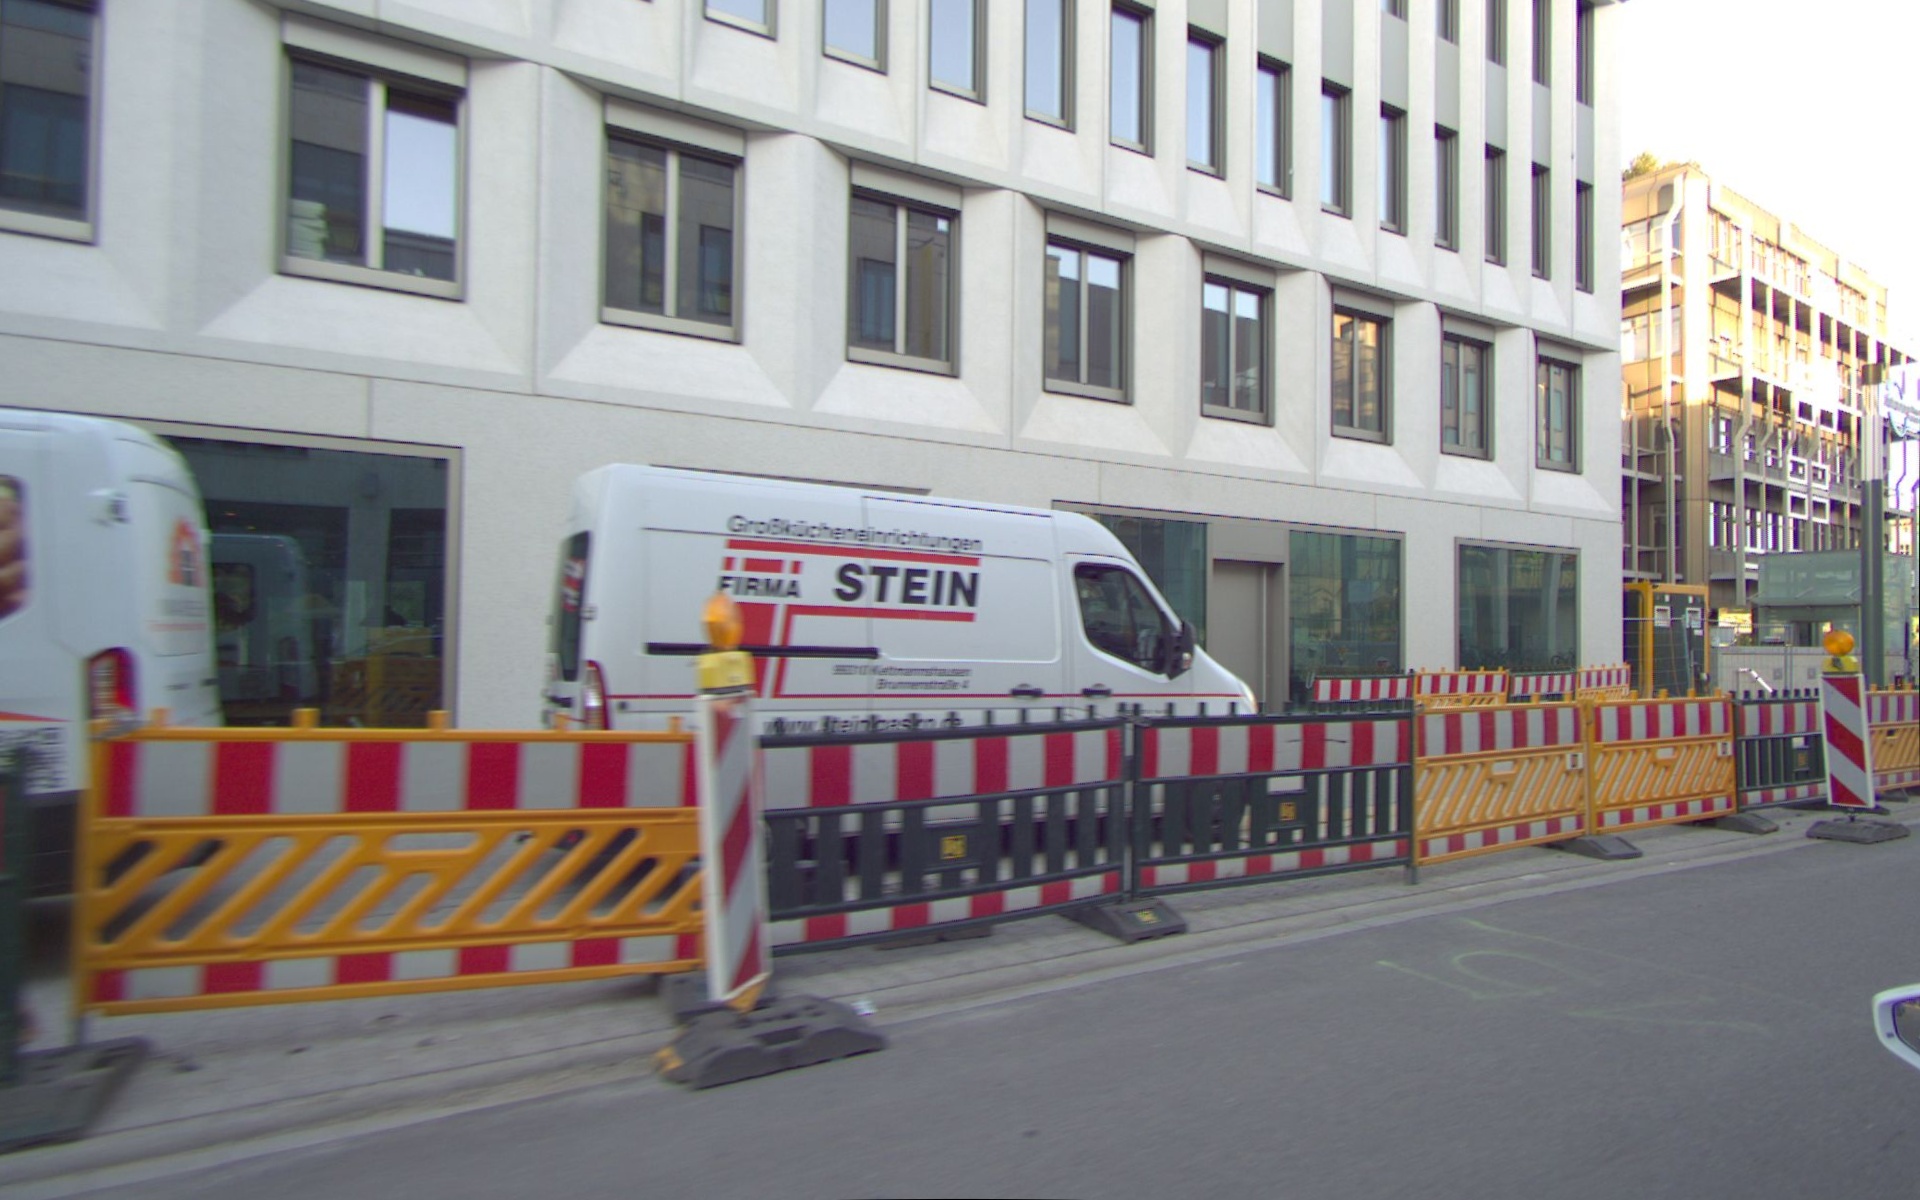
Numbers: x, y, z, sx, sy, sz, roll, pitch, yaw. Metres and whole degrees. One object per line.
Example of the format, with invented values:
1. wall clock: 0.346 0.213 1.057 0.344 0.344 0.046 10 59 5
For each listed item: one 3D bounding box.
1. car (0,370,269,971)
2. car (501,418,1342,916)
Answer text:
1. car: -6.518 0.221 3.994 5.928 2.502 2.164 3 -2 -30
2. car: -0.041 0.474 7.490 5.928 2.502 2.164 3 -2 -30
